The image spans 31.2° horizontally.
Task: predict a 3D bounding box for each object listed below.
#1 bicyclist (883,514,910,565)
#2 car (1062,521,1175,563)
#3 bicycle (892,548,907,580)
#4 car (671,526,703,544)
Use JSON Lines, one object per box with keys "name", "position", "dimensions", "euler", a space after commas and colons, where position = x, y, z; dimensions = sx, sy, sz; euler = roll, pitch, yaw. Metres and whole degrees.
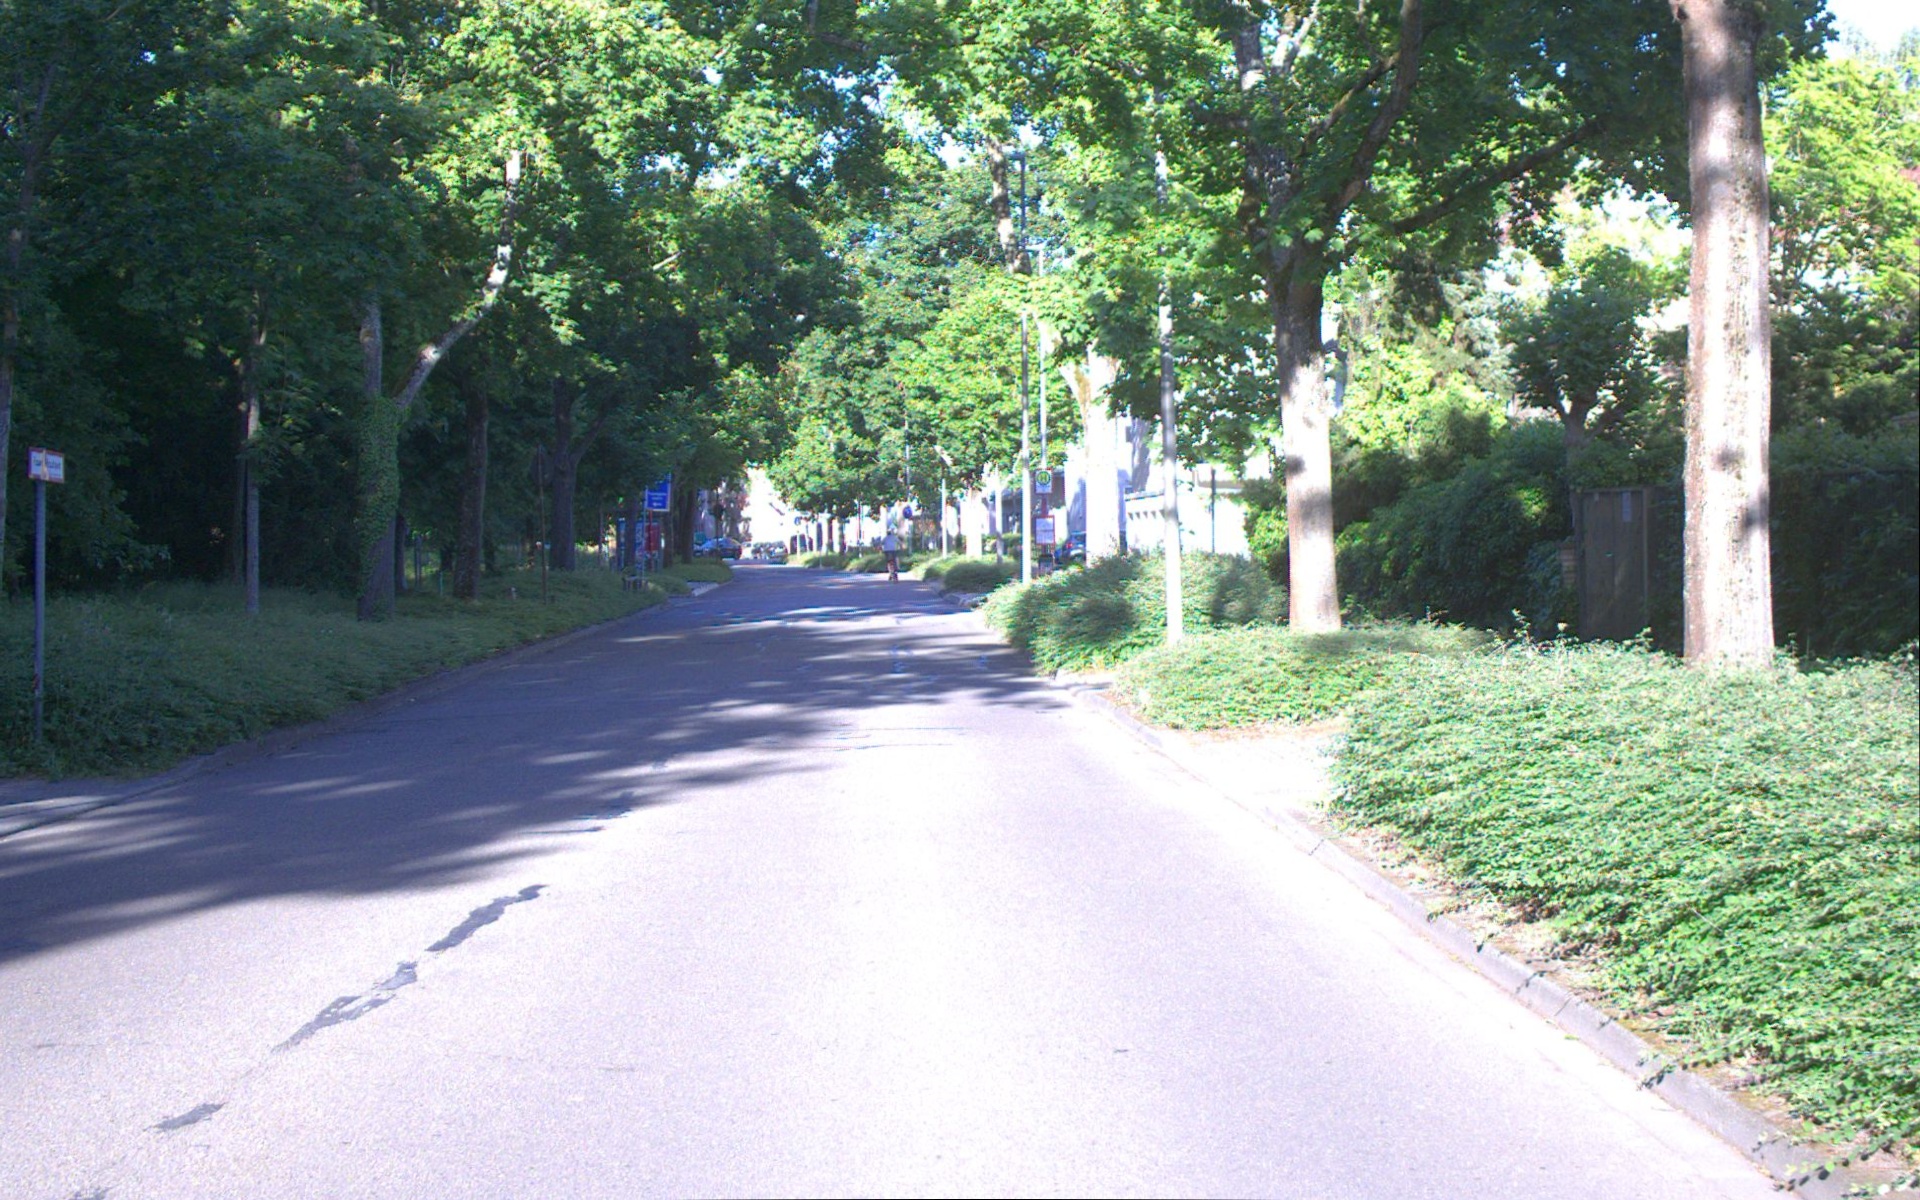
{"name": "bicyclist", "position": [-2.081, -1.988, 113.237], "dimensions": [0.867, 1.635, 1.115], "euler": [0, 2, -2]}
{"name": "car", "position": [6.252, -2.285, 135.314], "dimensions": [4.351, 1.349, 2.143], "euler": [3, 5, 5]}
{"name": "bicycle", "position": [-2.000, -1.191, 113.260], "dimensions": [0.439, 0.975, 1.662], "euler": [-1, 2, -2]}
{"name": "car", "position": [-20.739, -4.961, 261.068], "dimensions": [1.993, 1.349, 3.542], "euler": [0, 1, -11]}
